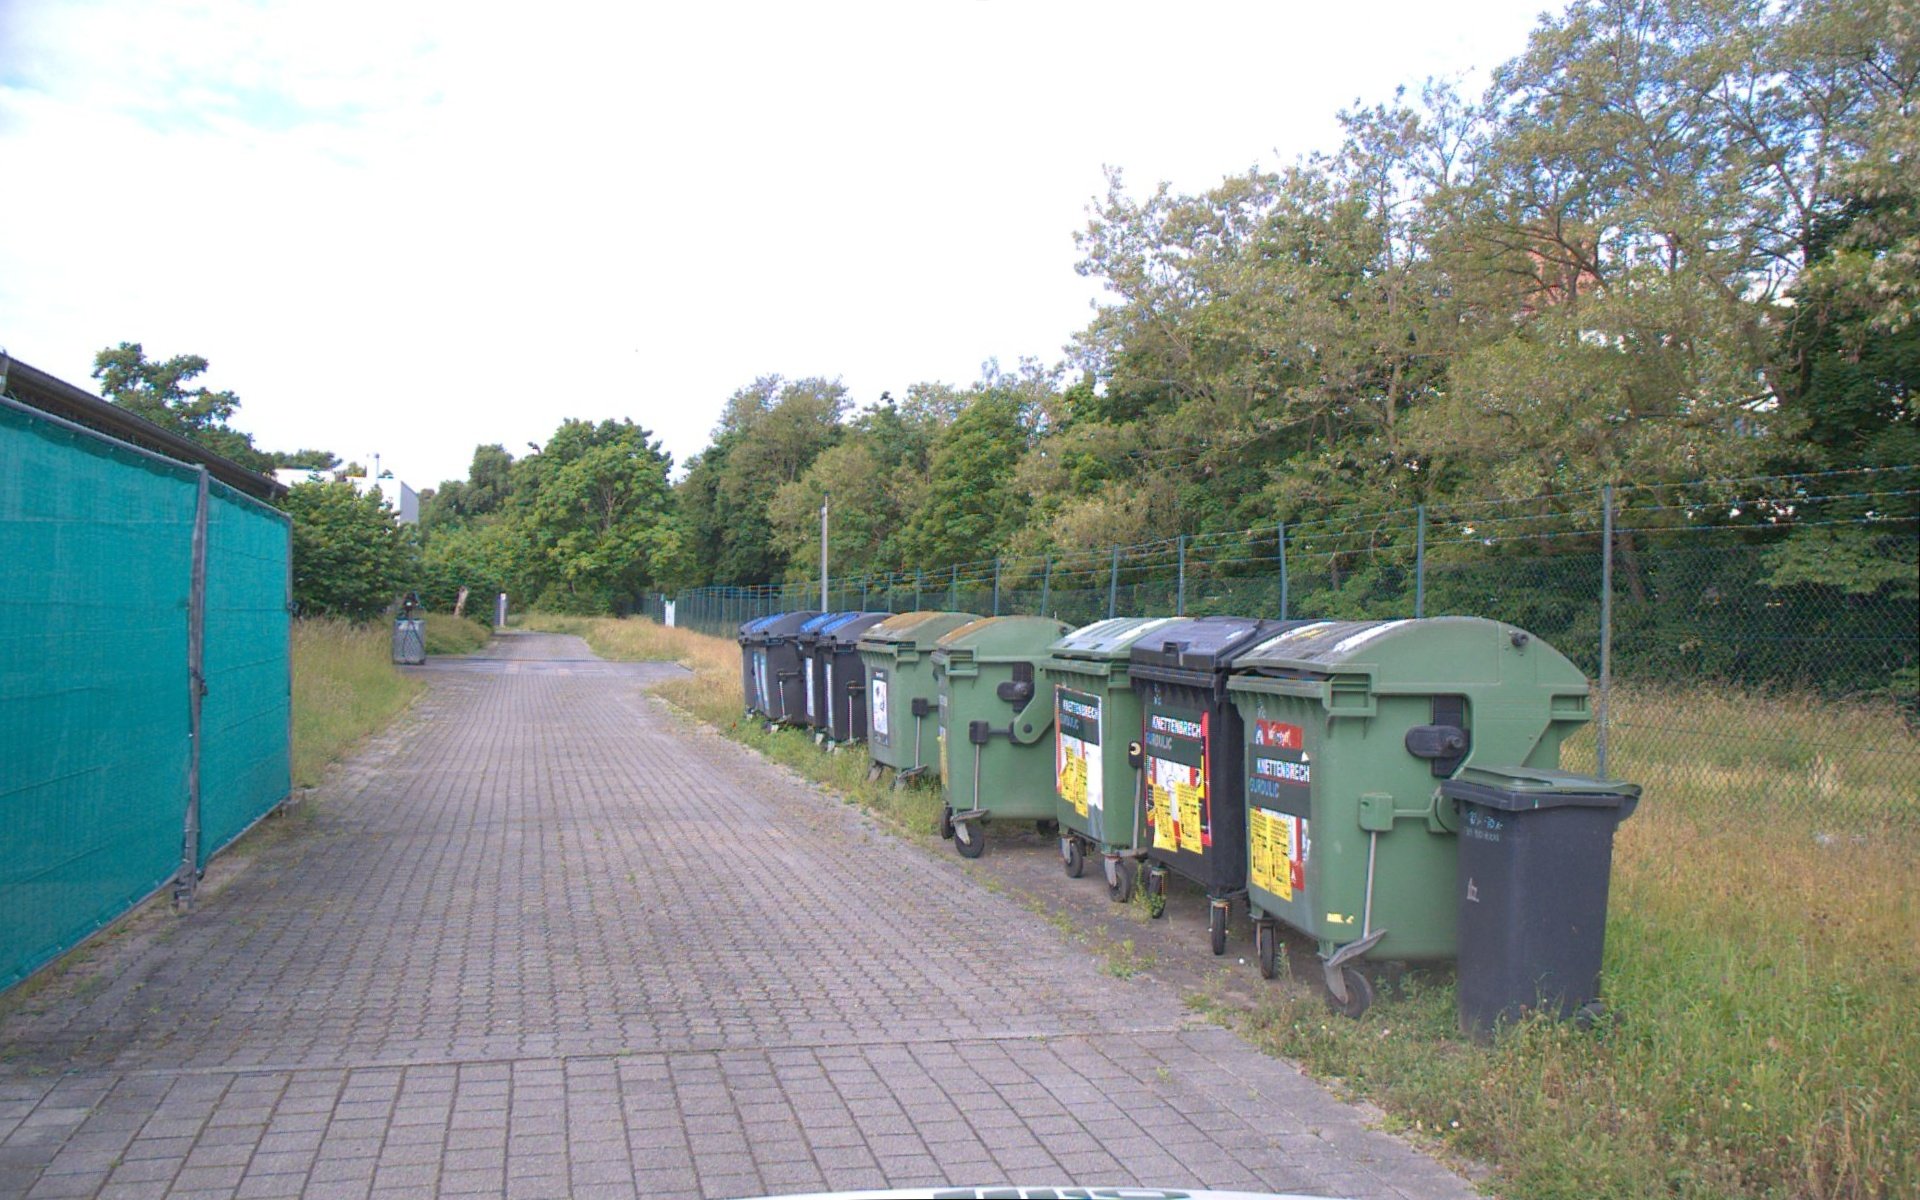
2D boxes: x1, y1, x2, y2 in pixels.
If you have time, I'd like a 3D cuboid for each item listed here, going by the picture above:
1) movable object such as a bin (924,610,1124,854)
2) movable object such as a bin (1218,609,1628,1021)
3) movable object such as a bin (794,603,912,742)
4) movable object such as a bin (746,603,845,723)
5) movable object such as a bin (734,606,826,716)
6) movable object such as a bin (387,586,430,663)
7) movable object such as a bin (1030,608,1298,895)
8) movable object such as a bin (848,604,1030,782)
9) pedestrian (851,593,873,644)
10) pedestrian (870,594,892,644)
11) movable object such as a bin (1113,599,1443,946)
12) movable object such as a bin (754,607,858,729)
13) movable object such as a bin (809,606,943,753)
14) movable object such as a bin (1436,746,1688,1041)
[{"bbox_3d":[0.366,0.800,10.496,1.101,1.423,1.384,1,-1,-4],"label":"movable object such as a bin"},{"bbox_3d":[1.734,0.768,6.454,1.106,1.420,1.354,1,-1,-6],"label":"movable object such as a bin"},{"bbox_3d":[-1.164,0.761,17.700,1.102,1.398,1.490,2,-1,-9],"label":"movable object such as a bin"},{"bbox_3d":[-2.041,0.766,20.358,1.102,1.403,1.322,2,-1,-9],"label":"movable object such as a bin"},{"bbox_3d":[-2.385,0.796,21.771,1.102,1.374,1.423,2,-1,-9],"label":"movable object such as a bin"},{"bbox_3d":[-14.766,0.651,44.305,0.917,2.017,0.852,1,-1,-6],"label":"movable object such as a bin"},{"bbox_3d":[1.071,0.783,9.050,1.050,1.430,1.381,2,-1,-12],"label":"movable object such as a bin"},{"bbox_3d":[-0.189,0.712,13.024,1.104,1.319,1.374,2,-1,-15],"label":"movable object such as a bin"},{"bbox_3d":[-3.984,0.761,67.342,0.747,2.049,0.661,1,-1,-16],"label":"pedestrian"},{"bbox_3d":[-3.237,0.769,67.597,0.747,2.049,0.661,1,-1,-16],"label":"pedestrian"},{"bbox_3d":[1.441,0.753,7.775,1.050,1.460,1.394,2,-1,-12],"label":"movable object such as a bin"},{"bbox_3d":[-1.796,0.764,19.081,1.102,1.345,1.322,1,-1,-9],"label":"movable object such as a bin"},{"bbox_3d":[-0.848,0.758,16.154,1.133,1.348,1.490,2,-1,-9],"label":"movable object such as a bin"},{"bbox_3d":[1.990,0.954,5.517,0.588,0.881,0.585,1,-1,-6],"label":"movable object such as a bin"}]
